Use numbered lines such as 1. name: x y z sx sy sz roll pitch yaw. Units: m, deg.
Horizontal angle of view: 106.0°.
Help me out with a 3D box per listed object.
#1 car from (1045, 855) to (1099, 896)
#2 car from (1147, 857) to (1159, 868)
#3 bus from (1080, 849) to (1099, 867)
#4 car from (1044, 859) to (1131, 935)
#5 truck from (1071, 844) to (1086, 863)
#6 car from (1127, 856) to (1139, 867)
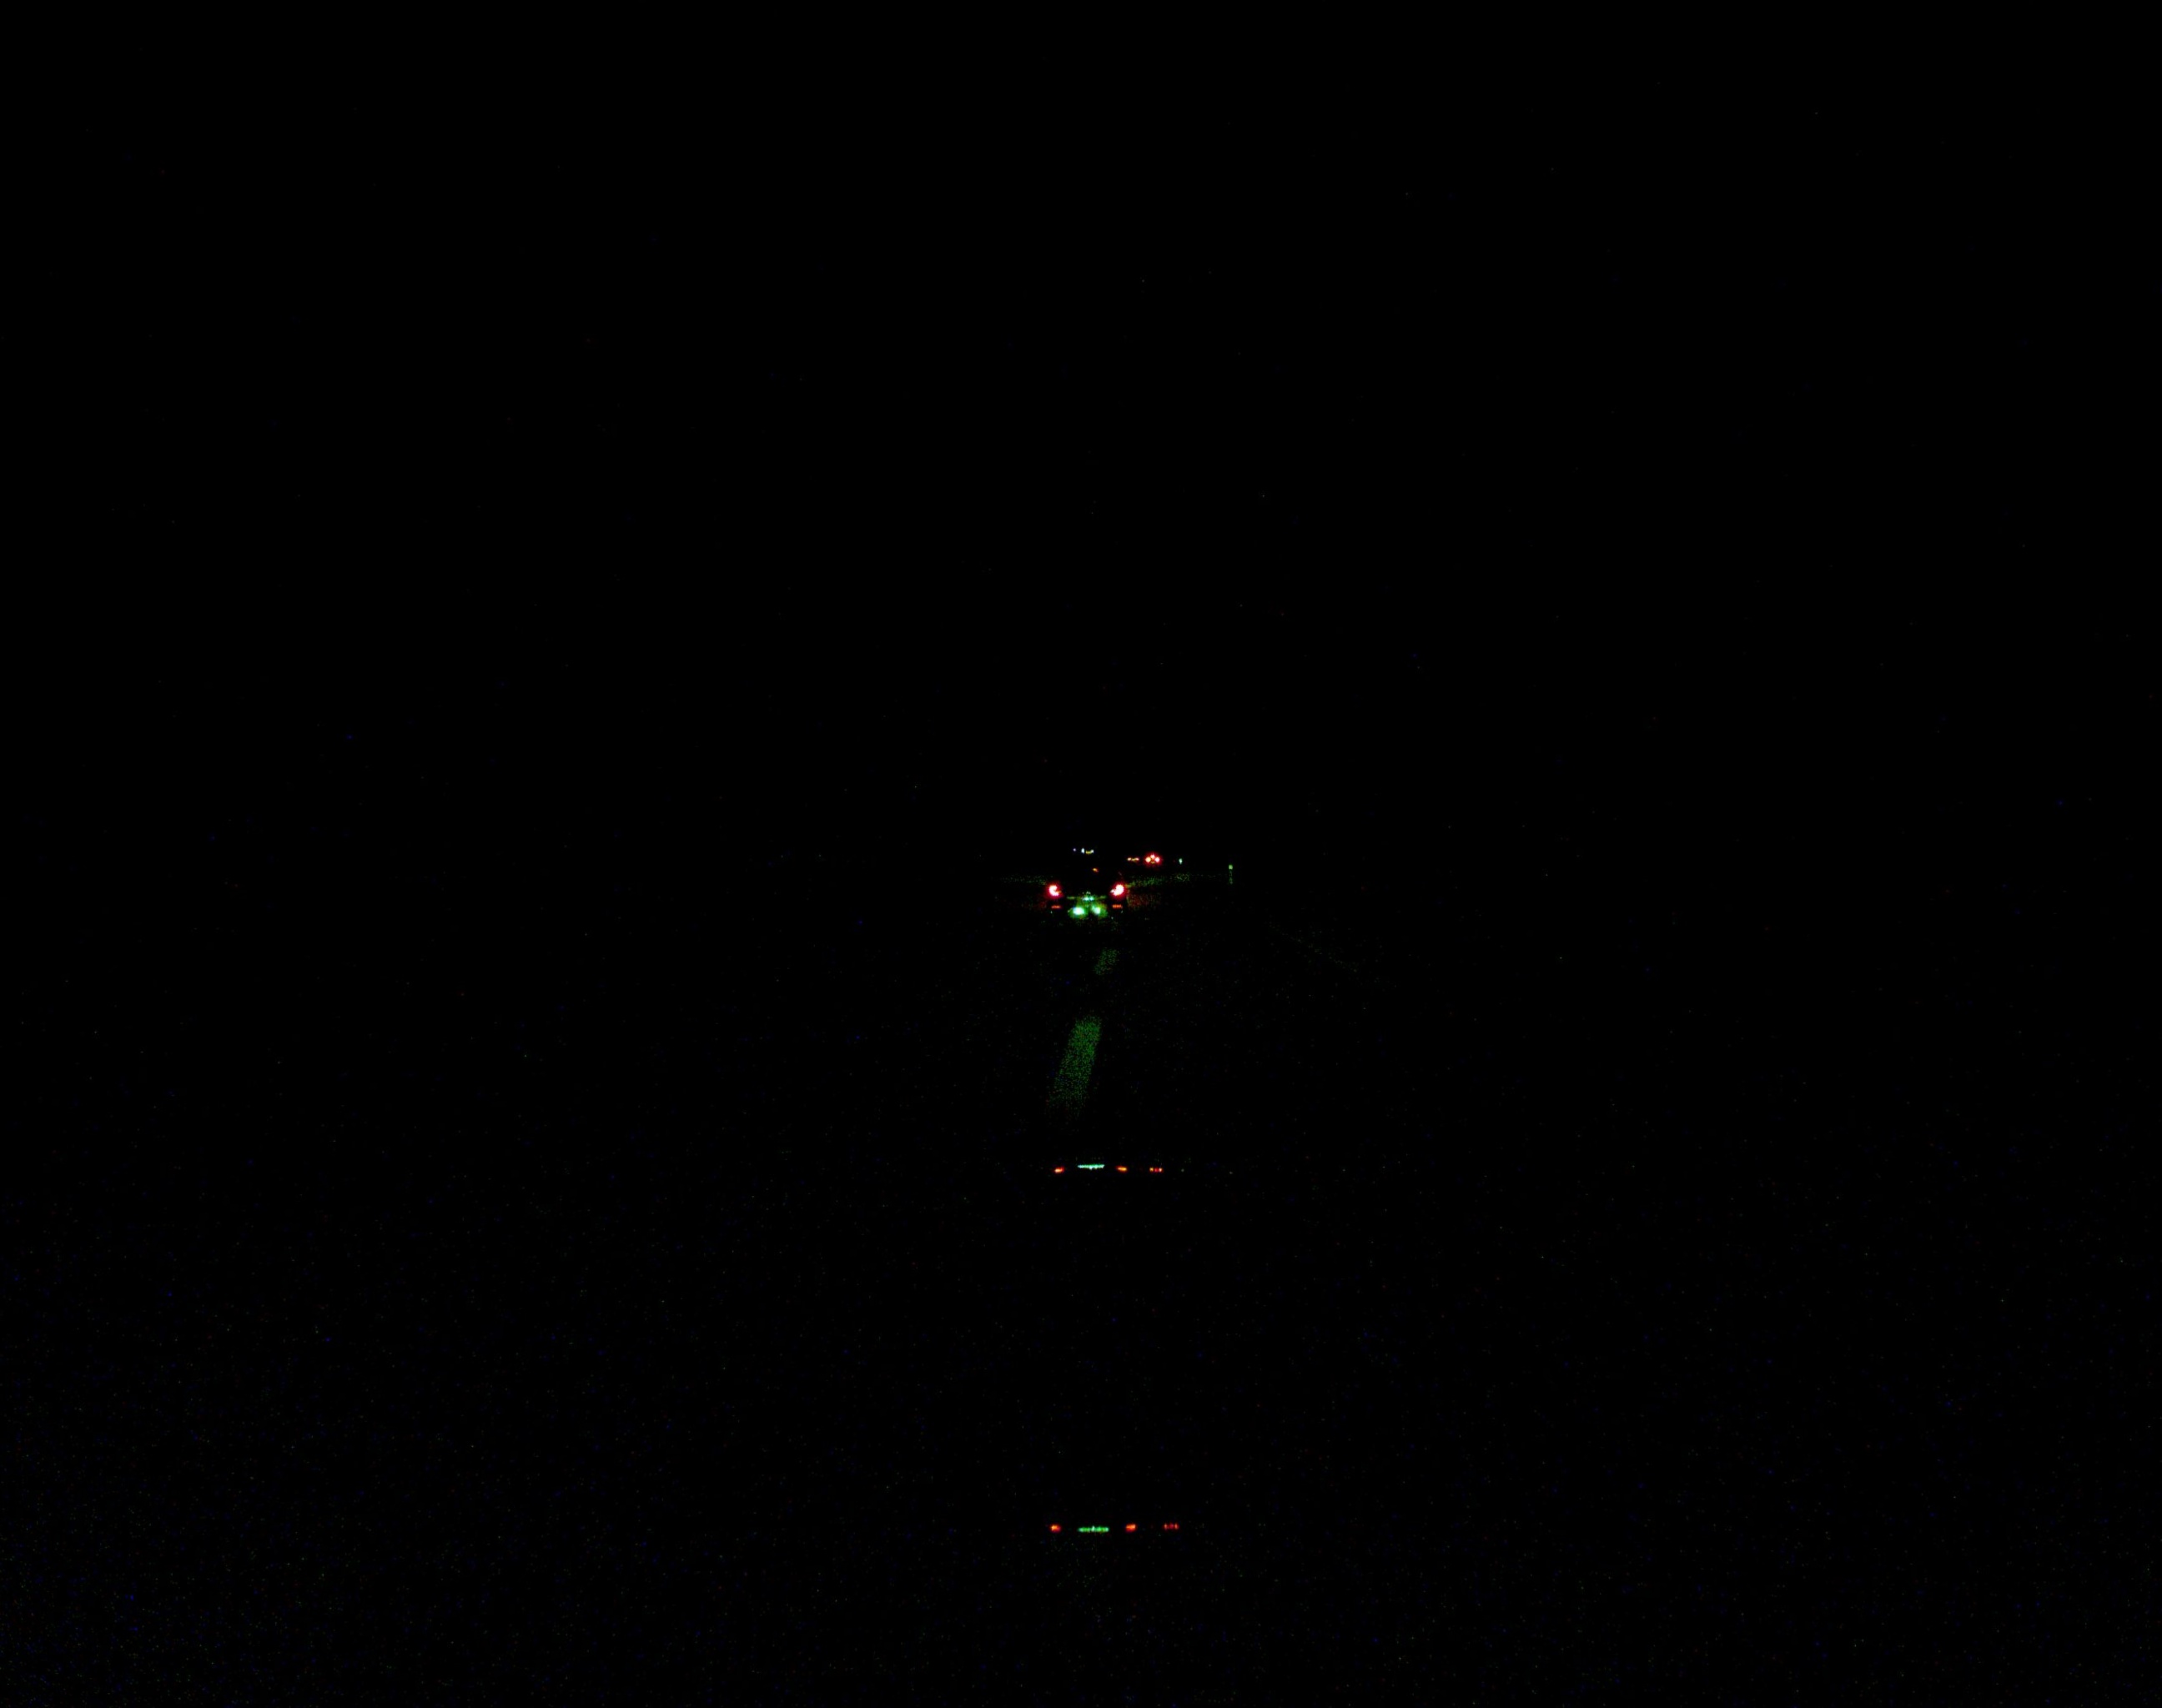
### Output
1. car: -0.303 0.871 34.506 1.932 1.608 4.648 0 0 4
2. car: 10.987 1.236 124.788 1.726 1.618 3.801 0 0 3
3. bus: 1.732 0.778 167.280 2.909 3.387 12.325 -1 0 5
4. car: 0.123 0.848 17.922 1.686 1.478 3.999 0 0 0
5. truck: -0.517 -0.122 178.991 2.663 4.177 5.877 -1 0 6
6. car: 8.874 1.324 138.335 1.943 1.538 4.245 -5 -2 4
